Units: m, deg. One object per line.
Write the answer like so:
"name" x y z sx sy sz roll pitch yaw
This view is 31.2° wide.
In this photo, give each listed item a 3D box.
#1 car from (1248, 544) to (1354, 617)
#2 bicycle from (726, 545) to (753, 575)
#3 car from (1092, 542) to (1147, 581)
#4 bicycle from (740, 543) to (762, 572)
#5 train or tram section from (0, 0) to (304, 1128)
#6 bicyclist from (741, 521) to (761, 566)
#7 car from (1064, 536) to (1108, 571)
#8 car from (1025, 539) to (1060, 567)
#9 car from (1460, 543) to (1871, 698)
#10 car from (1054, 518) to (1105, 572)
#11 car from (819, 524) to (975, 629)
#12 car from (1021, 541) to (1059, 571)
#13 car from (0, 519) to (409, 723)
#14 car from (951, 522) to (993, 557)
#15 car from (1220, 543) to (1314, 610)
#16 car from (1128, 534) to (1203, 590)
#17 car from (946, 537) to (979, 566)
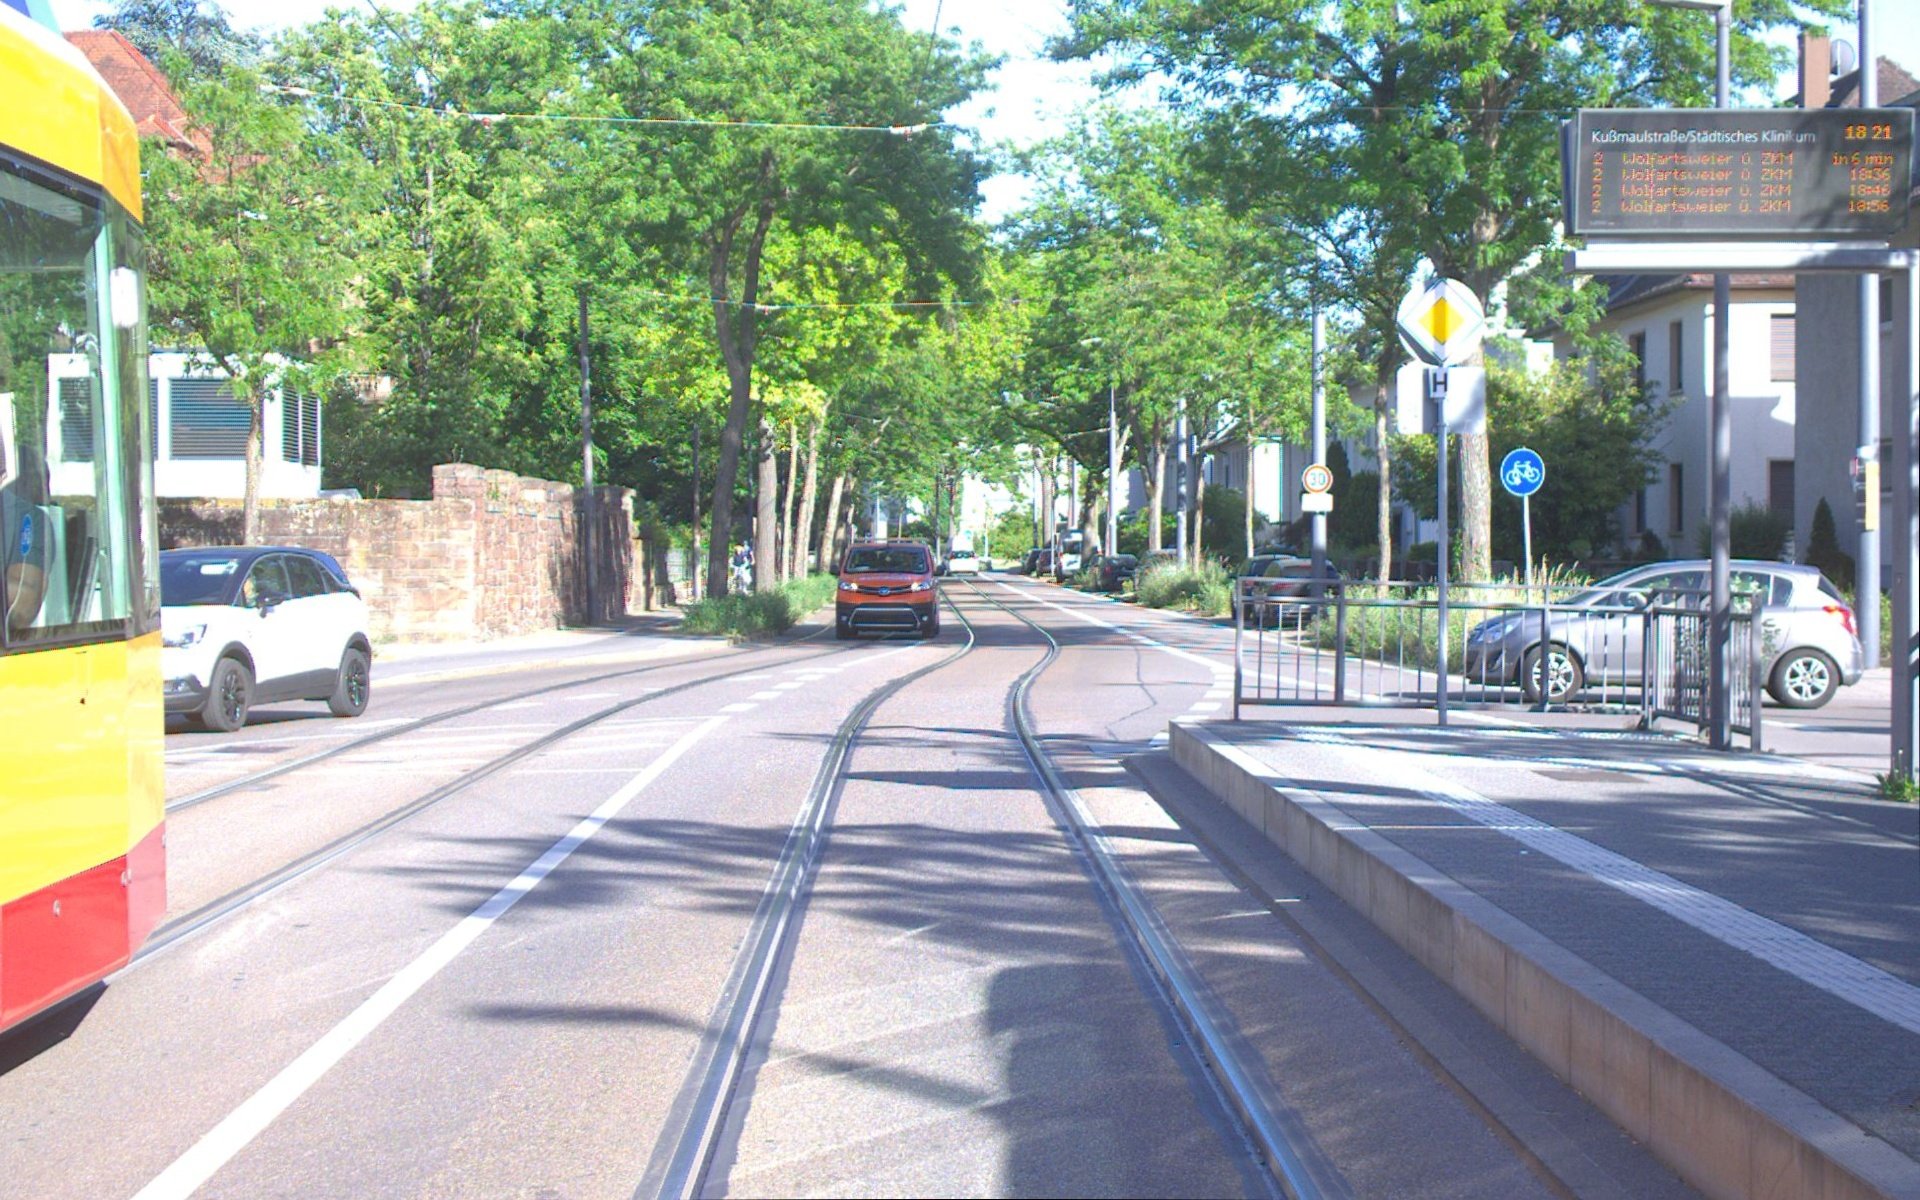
"car" 7.308 -0.448 73.970 1.748 1.490 4.444 -1 1 -1
"bicycle" -7.125 -1.293 111.093 0.711 0.957 2.094 0 1 0
"car" 6.450 -1.574 138.996 1.784 1.443 4.301 -3 1 -2
"bicycle" -6.998 -1.443 115.121 0.589 0.957 2.132 0 1 0
"train or tram section" -3.666 -0.496 8.665 2.803 3.448 6.669 0 1 -1
"bicyclist" -6.997 -1.897 115.187 0.593 1.522 1.061 0 1 0
"car" 5.415 -2.005 148.464 1.627 1.393 3.646 -3 1 -1
"car" 5.283 -3.022 219.785 2.003 1.669 4.392 -2 1 3
"car" 7.136 0.181 35.082 3.988 1.503 1.981 0 1 9
"car" 5.875 -2.718 170.210 2.245 2.645 5.586 0 1 -1
"car" -1.174 -0.479 66.762 1.994 1.959 4.931 0 1 12
"car" 4.698 -2.569 202.241 2.003 1.669 4.392 -2 1 -1
"car" -6.592 0.133 30.243 1.766 1.658 4.207 0 1 17
"car" 0.882 -4.361 248.289 1.993 2.449 4.510 -1 1 -13
"car" 7.089 -0.566 79.693 1.748 1.490 3.997 -1 1 -1
"car" 6.716 -1.264 112.612 1.993 1.698 4.478 -3 1 -1
"car" 0.157 -2.871 203.194 1.866 1.669 4.173 -1 1 2
